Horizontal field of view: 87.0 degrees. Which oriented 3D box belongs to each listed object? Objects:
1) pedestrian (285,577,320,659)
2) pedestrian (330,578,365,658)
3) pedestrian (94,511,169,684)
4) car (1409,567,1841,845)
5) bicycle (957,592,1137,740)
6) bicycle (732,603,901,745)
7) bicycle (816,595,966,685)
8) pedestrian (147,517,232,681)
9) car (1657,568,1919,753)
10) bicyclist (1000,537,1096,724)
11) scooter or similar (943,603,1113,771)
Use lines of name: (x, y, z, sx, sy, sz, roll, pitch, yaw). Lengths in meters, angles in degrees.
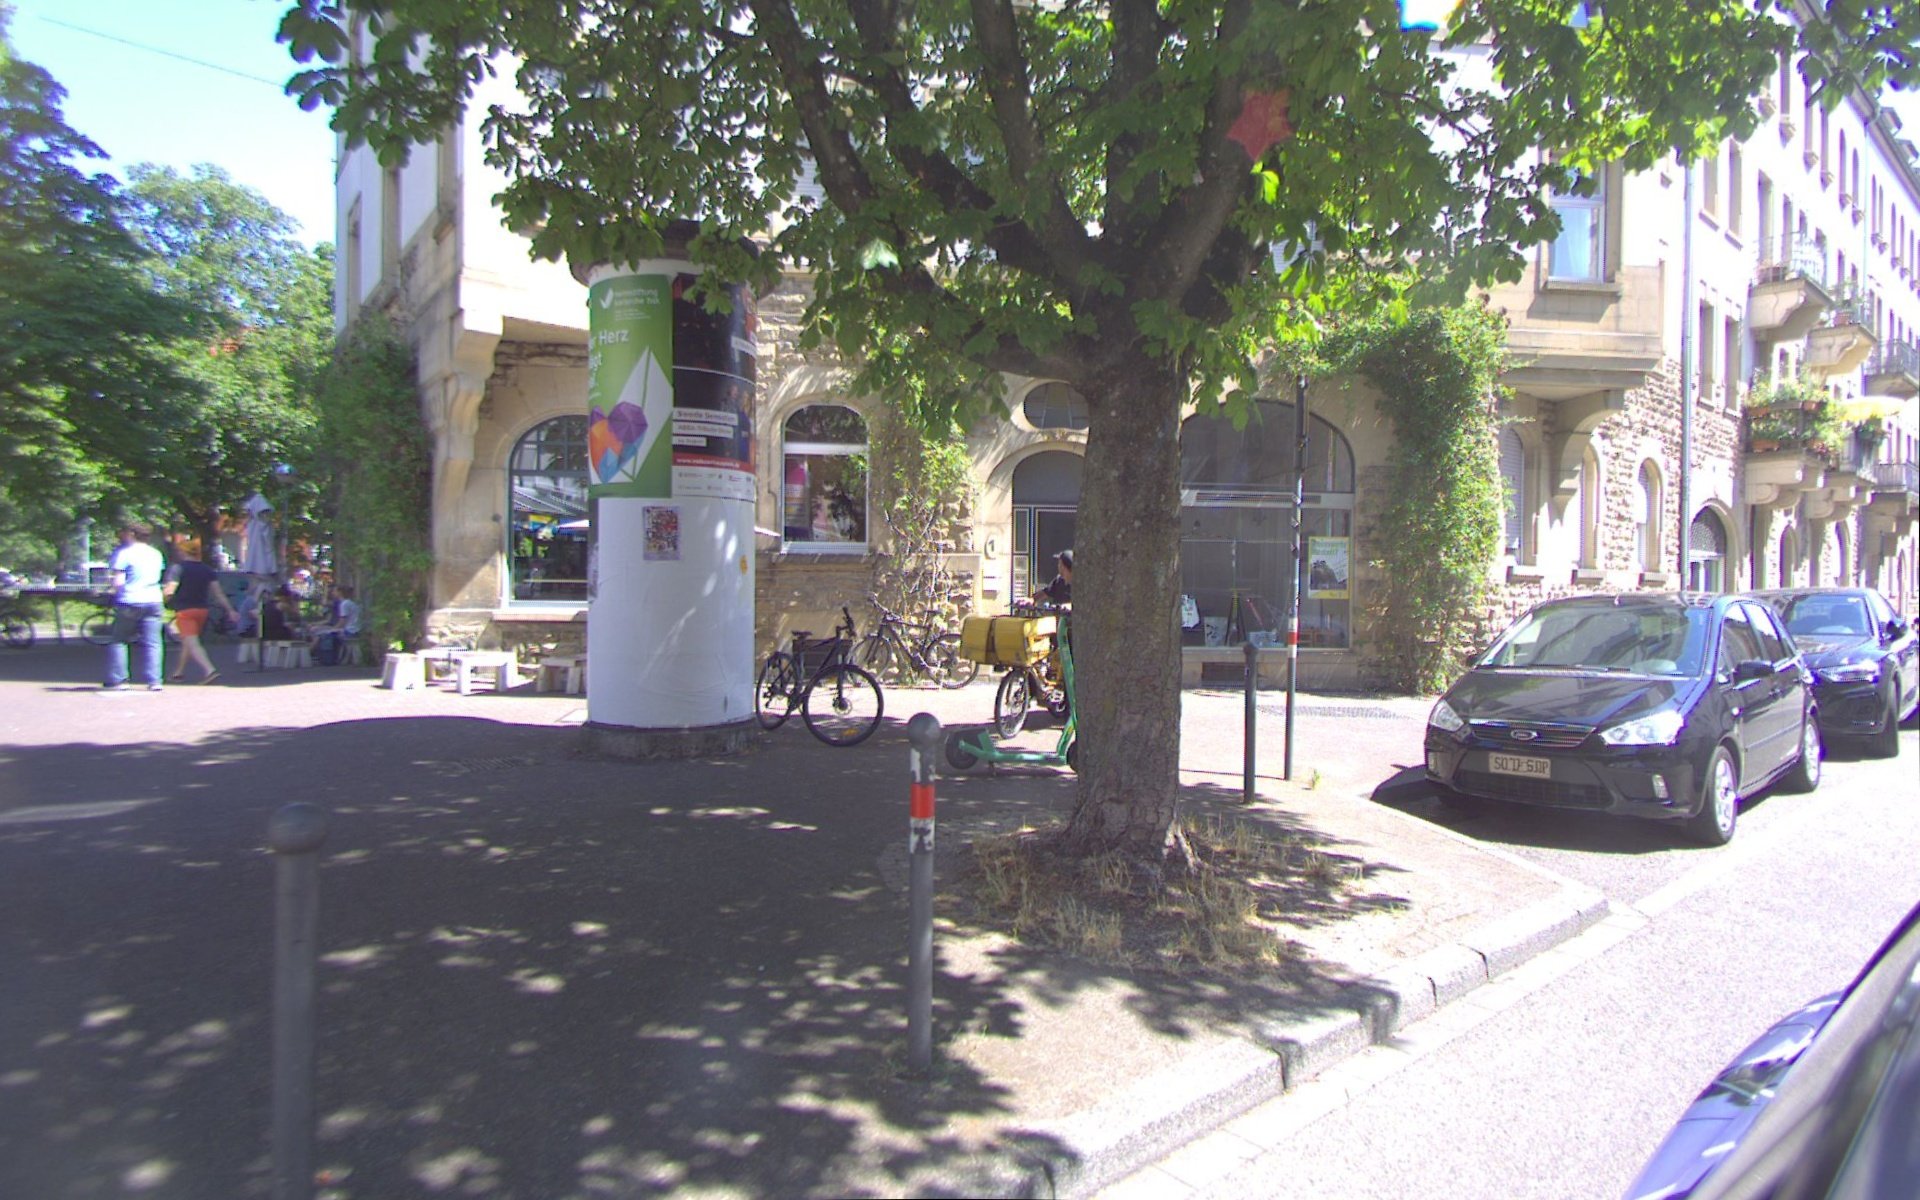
pedestrian: (-9.867, 0.265, 15.194, 0.406, 1.197, 0.444, 0, 1, -37)
pedestrian: (-9.422, 0.262, 15.562, 0.406, 1.197, 0.444, 0, 1, -37)
pedestrian: (-9.388, -0.038, 11.468, 0.650, 1.892, 0.513, 1, 1, 36)
car: (5.196, 0.599, 7.684, 4.104, 1.560, 1.666, 0, -1, -41)
bicycle: (0.919, 0.542, 9.756, 0.789, 1.183, 2.553, 2, 2, 28)
bicycle: (-1.321, 0.591, 8.987, 0.622, 1.052, 1.905, 0, 2, -38)
bicycle: (-0.861, 0.493, 12.576, 1.800, 1.052, 0.550, 1, 1, -5)
pedestrian: (-9.288, -0.025, 12.204, 0.877, 1.903, 0.593, 1, 1, 36)
car: (9.199, 0.531, 10.934, 4.272, 1.617, 1.738, 0, -1, -41)
bicyclist: (0.832, 0.257, 9.481, 0.674, 1.668, 0.655, 2, 1, 29)
scooter or similar: (0.472, 0.610, 7.284, 1.162, 1.150, 0.443, 1, 1, -2)
